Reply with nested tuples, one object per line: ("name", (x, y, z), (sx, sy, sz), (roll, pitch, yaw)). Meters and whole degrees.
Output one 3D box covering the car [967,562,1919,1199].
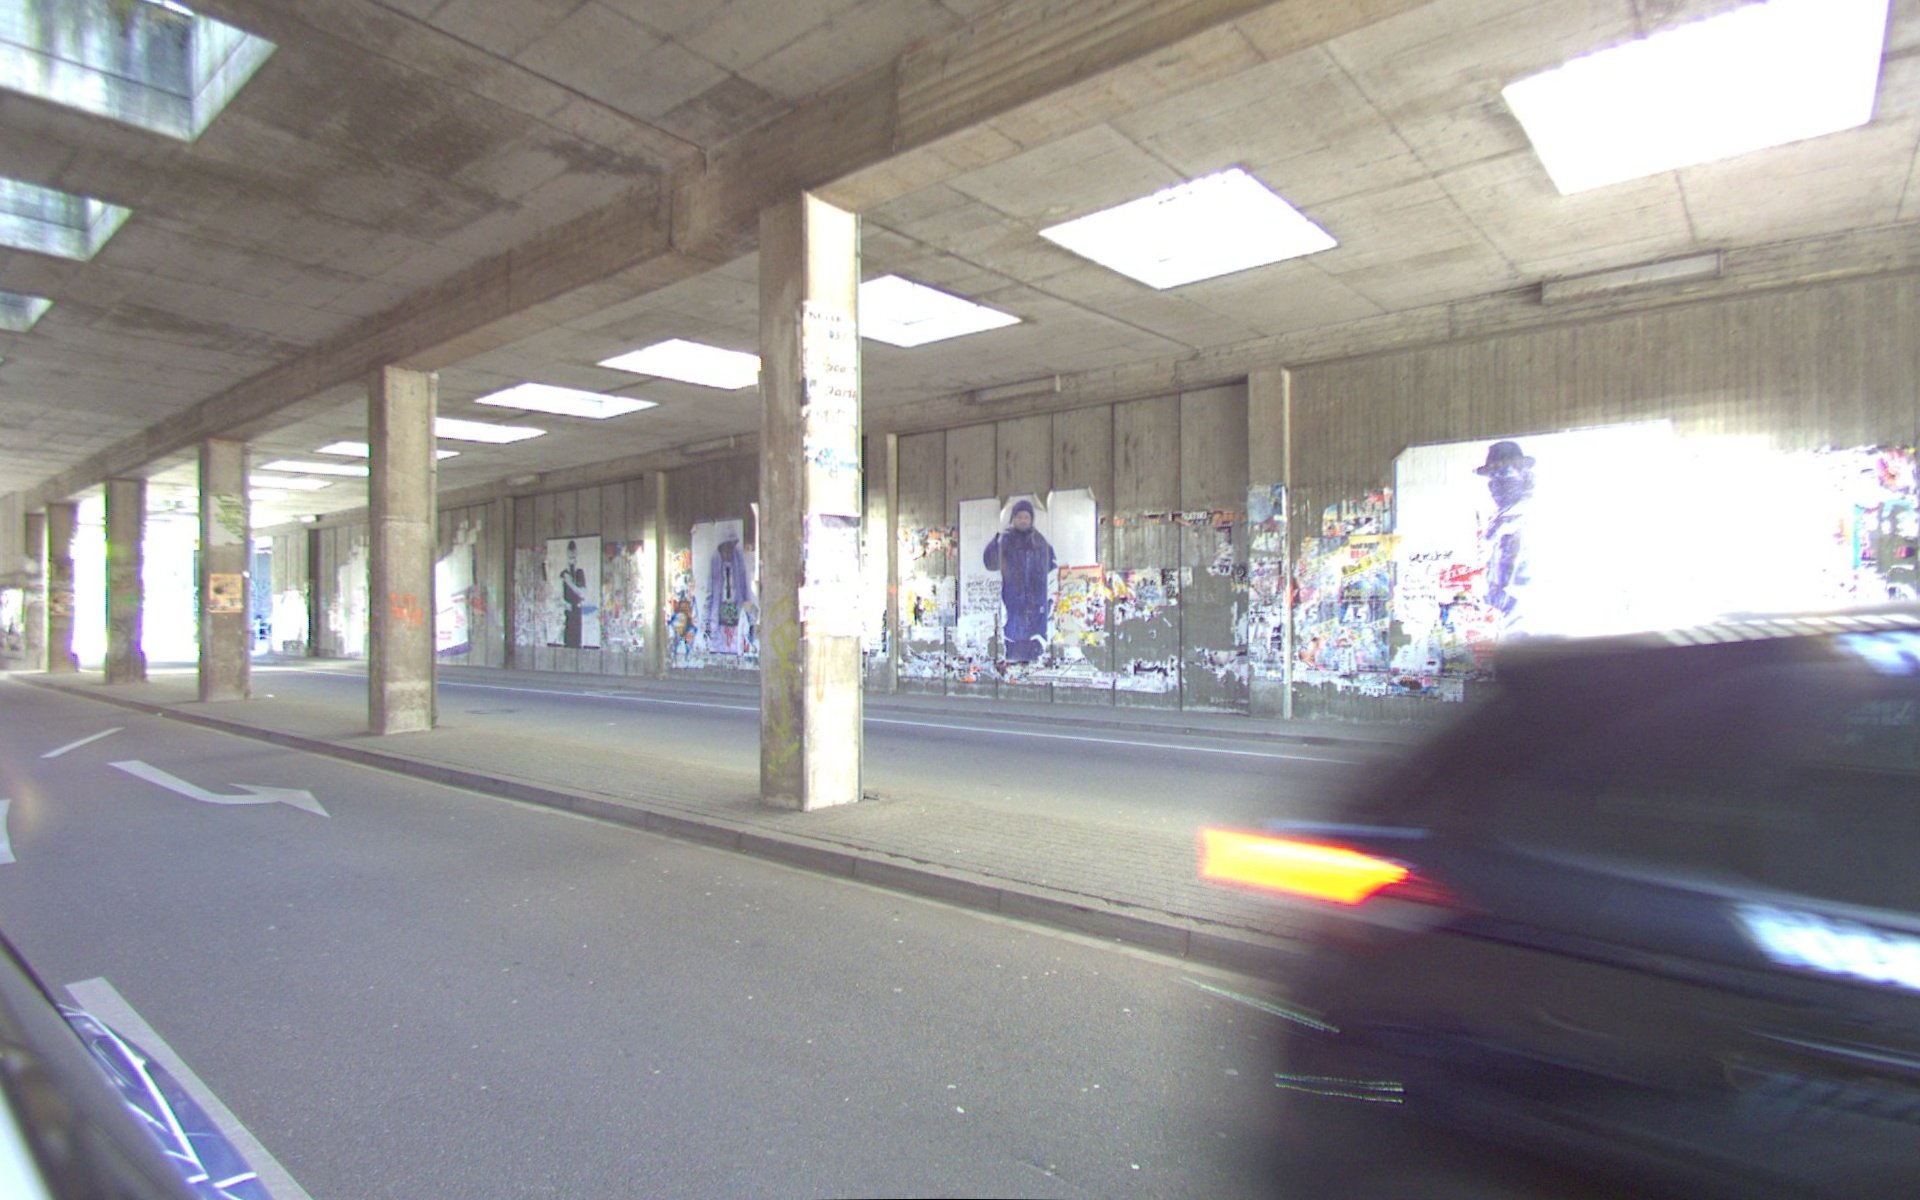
("car", (2.185, 0.654, 1.166), (4.175, 1.457, 1.762), (-1, 1, 40))
